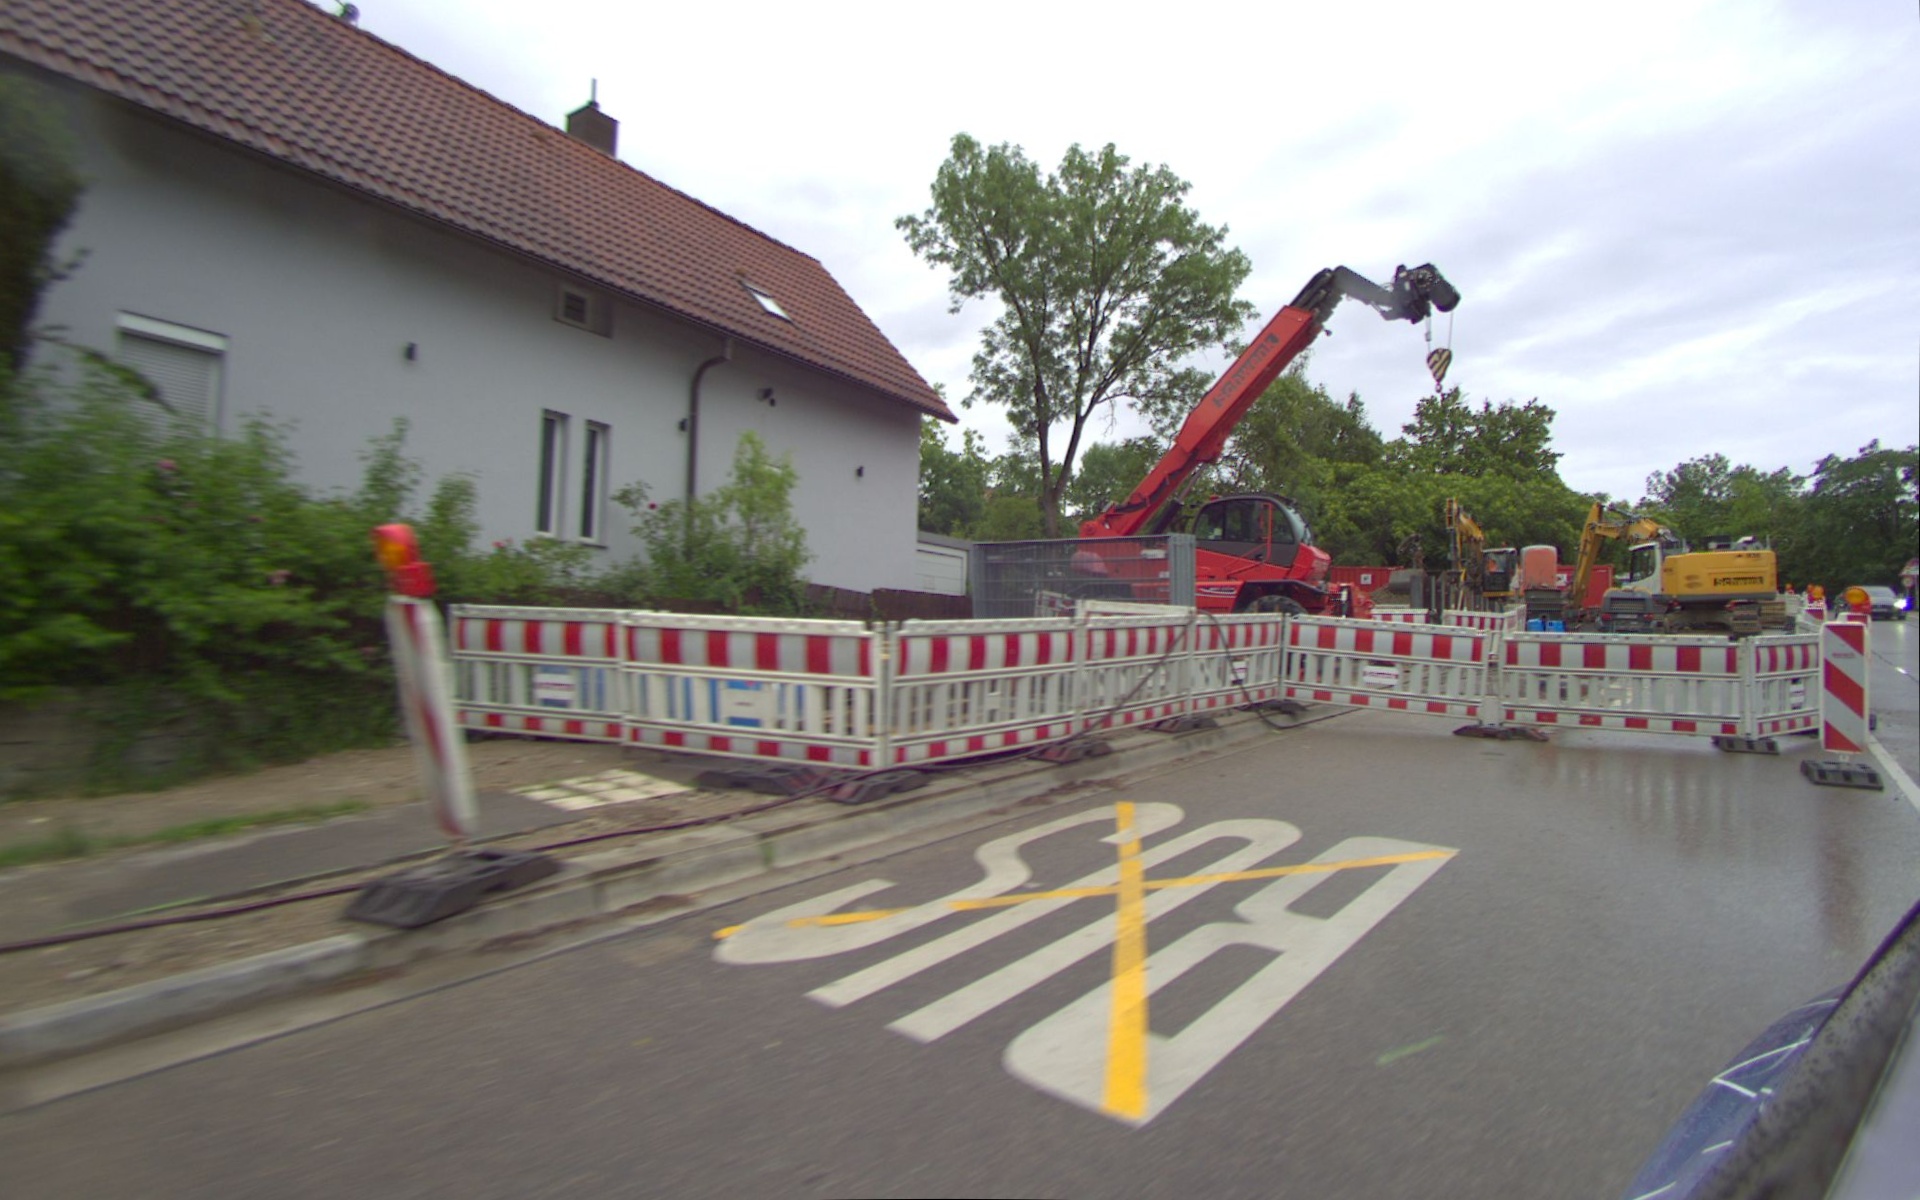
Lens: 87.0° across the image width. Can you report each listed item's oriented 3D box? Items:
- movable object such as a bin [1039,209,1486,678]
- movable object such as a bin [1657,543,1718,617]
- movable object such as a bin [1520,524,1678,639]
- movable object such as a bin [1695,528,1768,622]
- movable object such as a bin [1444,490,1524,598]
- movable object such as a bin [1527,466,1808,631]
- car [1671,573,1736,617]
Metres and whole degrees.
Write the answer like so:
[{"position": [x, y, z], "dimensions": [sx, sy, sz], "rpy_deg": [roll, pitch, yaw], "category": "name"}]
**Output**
[{"position": [5.163, -2.265, 17.901], "dimensions": [6.929, 6.774, 3.006], "rpy_deg": [-1, 0, 36], "category": "movable object such as a bin"}, {"position": [38.155, -0.952, 53.217], "dimensions": [2.065, 3.271, 5.221], "rpy_deg": [-2, -6, 31], "category": "movable object such as a bin"}, {"position": [19.852, -0.471, 31.677], "dimensions": [3.966, 3.247, 2.379], "rpy_deg": [-2, -6, 31], "category": "movable object such as a bin"}, {"position": [28.940, -1.001, 38.062], "dimensions": [1.987, 3.345, 3.788], "rpy_deg": [-1, 3, 36], "category": "movable object such as a bin"}, {"position": [20.537, -2.081, 39.539], "dimensions": [1.988, 3.938, 4.555], "rpy_deg": [-1, 0, 37], "category": "movable object such as a bin"}, {"position": [24.893, -1.806, 36.675], "dimensions": [3.012, 4.978, 10.815], "rpy_deg": [-2, 2, 3], "category": "movable object such as a bin"}, {"position": [32.714, -0.225, 44.472], "dimensions": [1.990, 1.802, 4.926], "rpy_deg": [-1, 0, 40], "category": "car"}]
